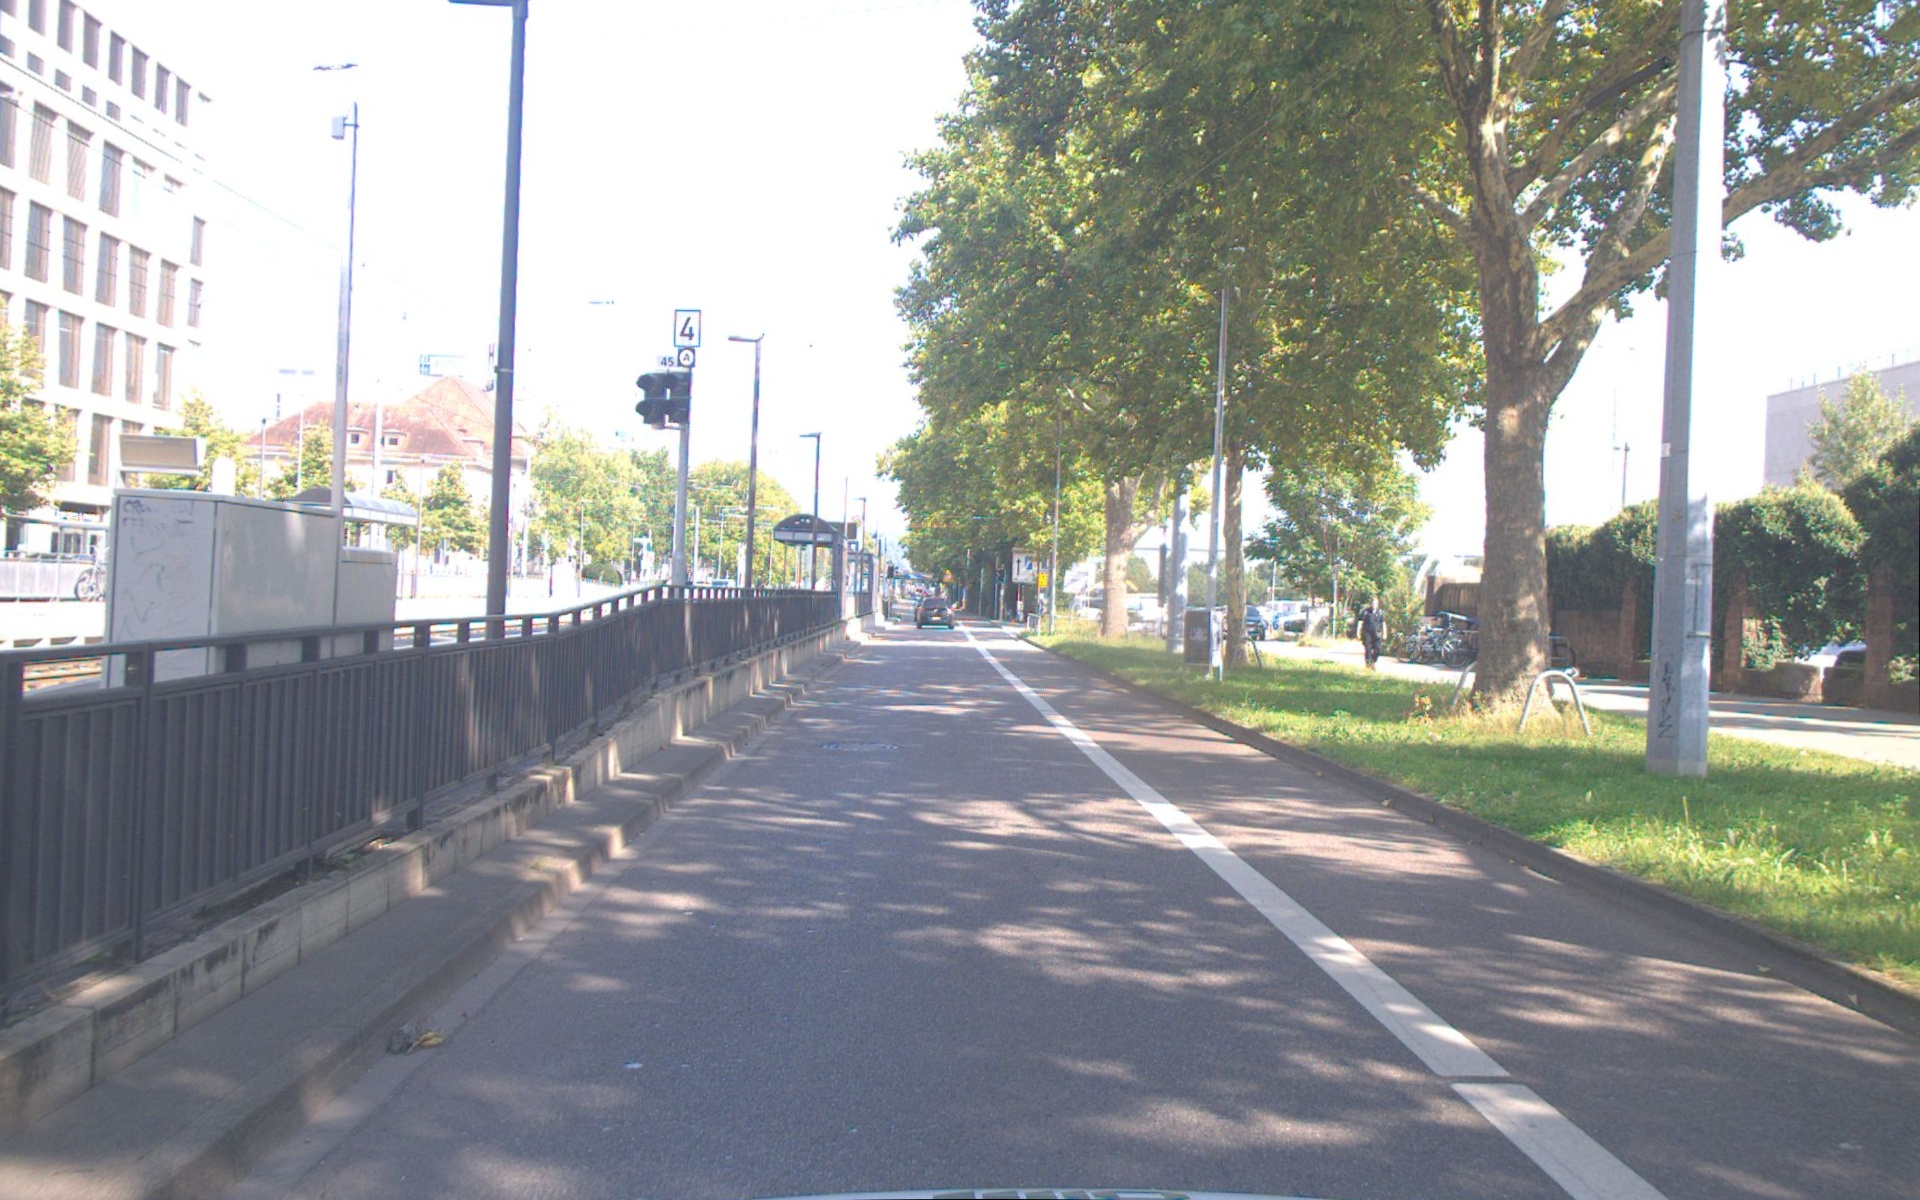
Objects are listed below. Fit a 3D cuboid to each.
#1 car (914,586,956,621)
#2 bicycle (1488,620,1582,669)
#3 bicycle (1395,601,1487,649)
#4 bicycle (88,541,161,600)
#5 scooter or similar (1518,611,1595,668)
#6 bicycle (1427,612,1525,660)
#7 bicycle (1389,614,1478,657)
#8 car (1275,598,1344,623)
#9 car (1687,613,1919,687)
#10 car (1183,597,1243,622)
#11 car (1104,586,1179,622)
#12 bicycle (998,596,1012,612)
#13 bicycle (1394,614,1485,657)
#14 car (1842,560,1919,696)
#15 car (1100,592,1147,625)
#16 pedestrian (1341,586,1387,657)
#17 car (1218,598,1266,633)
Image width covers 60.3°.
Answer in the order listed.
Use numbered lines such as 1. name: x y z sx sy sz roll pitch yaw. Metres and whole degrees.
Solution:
1. car: -1.200 0.153 77.453 1.869 1.564 3.998 0 0 -2
2. bicycle: 12.946 1.005 37.276 1.830 1.024 0.734 2 0 -3
3. bicycle: 13.058 0.671 44.924 2.199 1.299 0.998 0 -1 -2
4. bicycle: -17.371 -0.607 34.427 0.461 1.167 1.485 2 0 13
5. scooter or similar: 13.016 0.854 36.088 1.474 1.212 0.539 1 0 2
6. bicycle: 12.594 0.872 40.382 2.130 1.095 0.743 2 0 -3
7. bicycle: 12.418 0.924 43.416 2.128 1.095 0.743 0 0 2
8. car: 24.227 0.711 114.796 4.258 1.489 1.946 3 0 -4
9. car: 19.340 1.118 37.569 4.807 1.504 2.181 1 0 -11
10. car: 19.920 0.731 130.333 4.258 1.742 1.946 3 0 -4
11. car: 10.174 0.229 92.811 4.018 1.952 1.848 1 0 1
12. bicycle: 2.942 0.247 108.079 0.598 1.039 2.400 1 0 -5
13. bicycle: 12.348 0.911 42.606 2.128 1.095 0.743 0 0 2
14. car: 19.941 0.598 31.270 5.265 2.477 2.250 2 0 0
15. car: 7.813 0.399 79.180 1.693 1.474 4.549 1 0 -1
16. pedestrian: 8.925 0.469 36.554 0.768 1.541 0.786 2 0 -2
17. car: 13.751 0.729 80.771 1.575 1.603 3.795 1 0 -1
